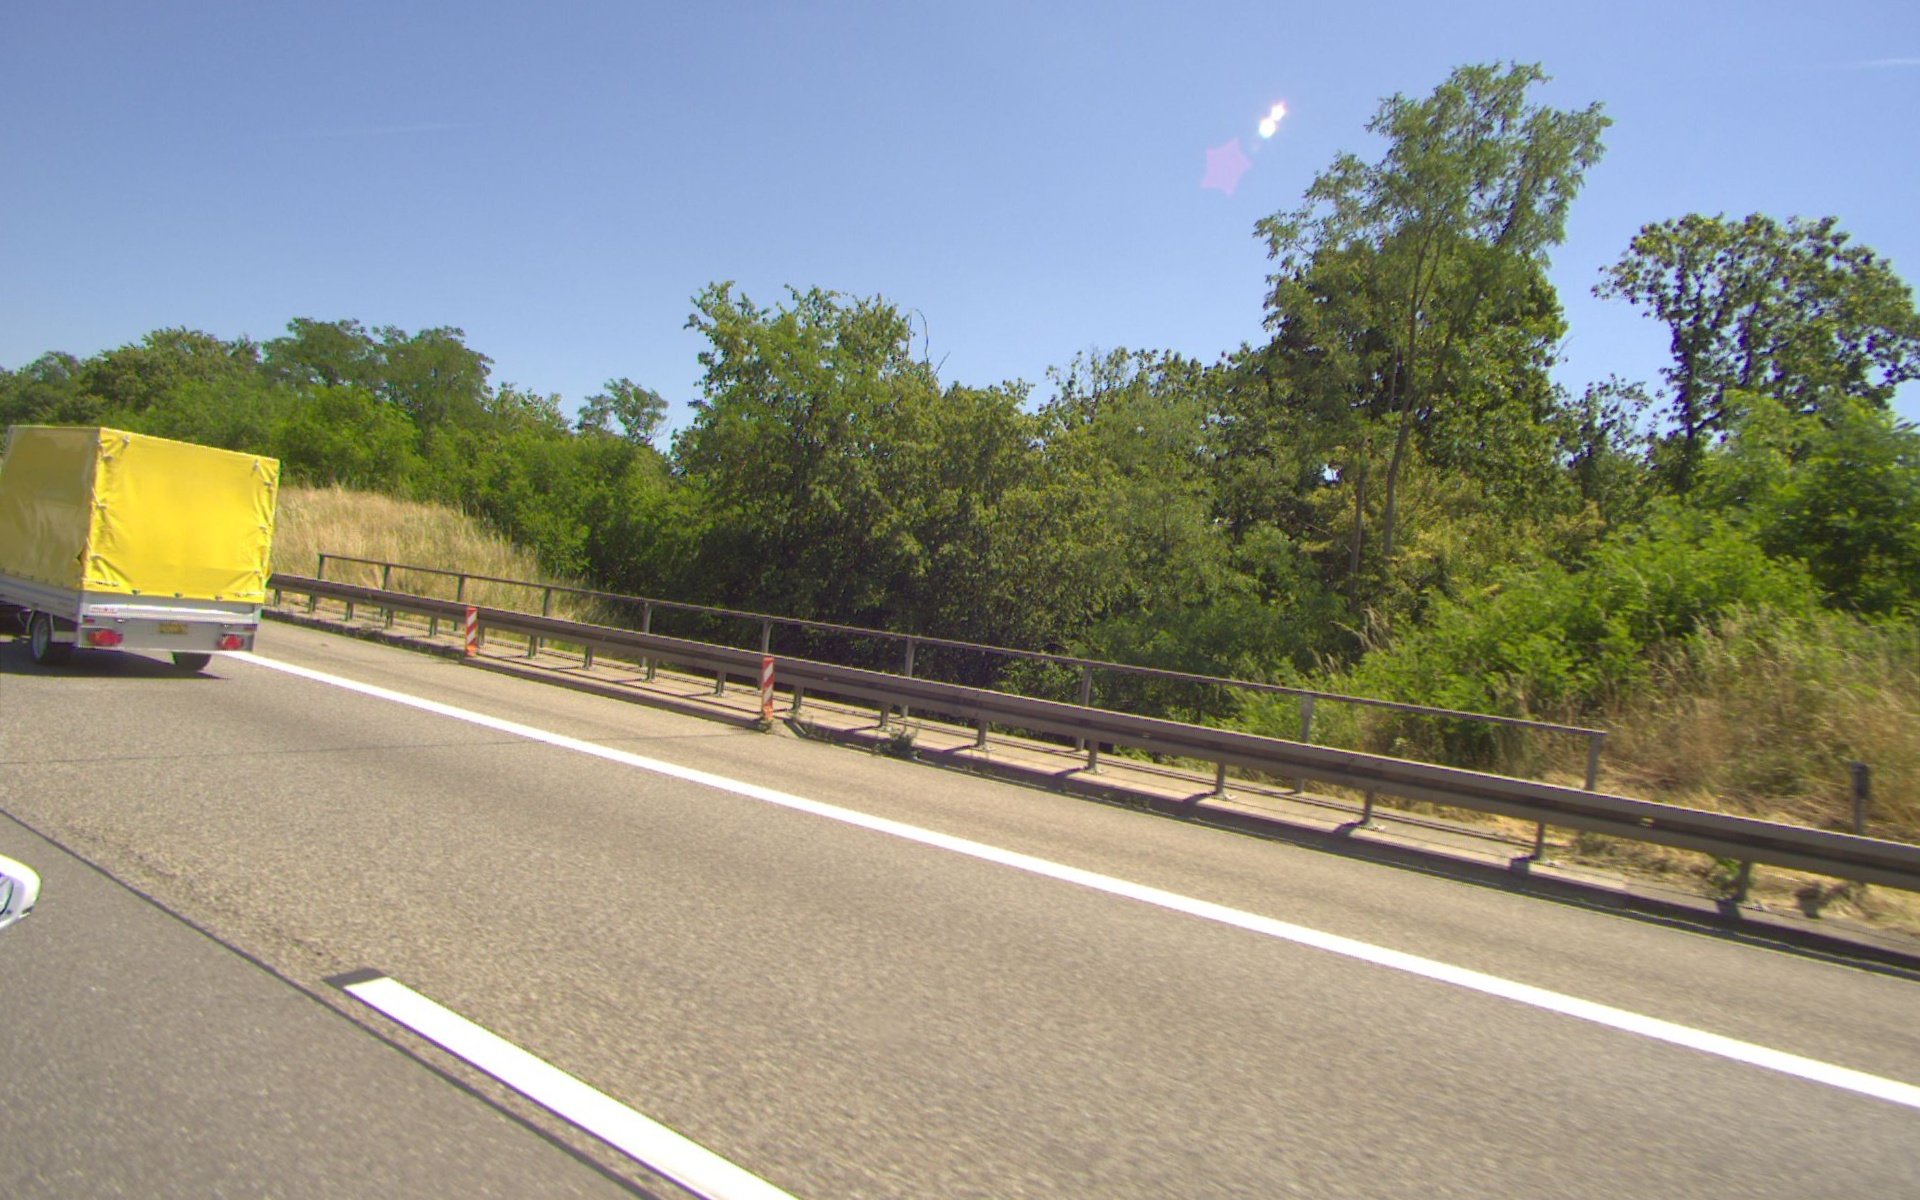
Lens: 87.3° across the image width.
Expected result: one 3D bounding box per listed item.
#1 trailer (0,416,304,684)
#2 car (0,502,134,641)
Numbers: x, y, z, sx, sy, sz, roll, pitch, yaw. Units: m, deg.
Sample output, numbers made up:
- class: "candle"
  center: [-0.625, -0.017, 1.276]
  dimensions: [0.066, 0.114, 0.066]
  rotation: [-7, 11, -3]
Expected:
- class: "trailer"
  center: [-8.818, -0.551, 10.441]
  dimensions: [3.775, 2.317, 1.705]
  rotation: [7, 0, 31]
- class: "car"
  center: [-12.535, -0.538, 12.592]
  dimensions: [4.708, 1.473, 1.824]
  rotation: [6, -1, 31]
